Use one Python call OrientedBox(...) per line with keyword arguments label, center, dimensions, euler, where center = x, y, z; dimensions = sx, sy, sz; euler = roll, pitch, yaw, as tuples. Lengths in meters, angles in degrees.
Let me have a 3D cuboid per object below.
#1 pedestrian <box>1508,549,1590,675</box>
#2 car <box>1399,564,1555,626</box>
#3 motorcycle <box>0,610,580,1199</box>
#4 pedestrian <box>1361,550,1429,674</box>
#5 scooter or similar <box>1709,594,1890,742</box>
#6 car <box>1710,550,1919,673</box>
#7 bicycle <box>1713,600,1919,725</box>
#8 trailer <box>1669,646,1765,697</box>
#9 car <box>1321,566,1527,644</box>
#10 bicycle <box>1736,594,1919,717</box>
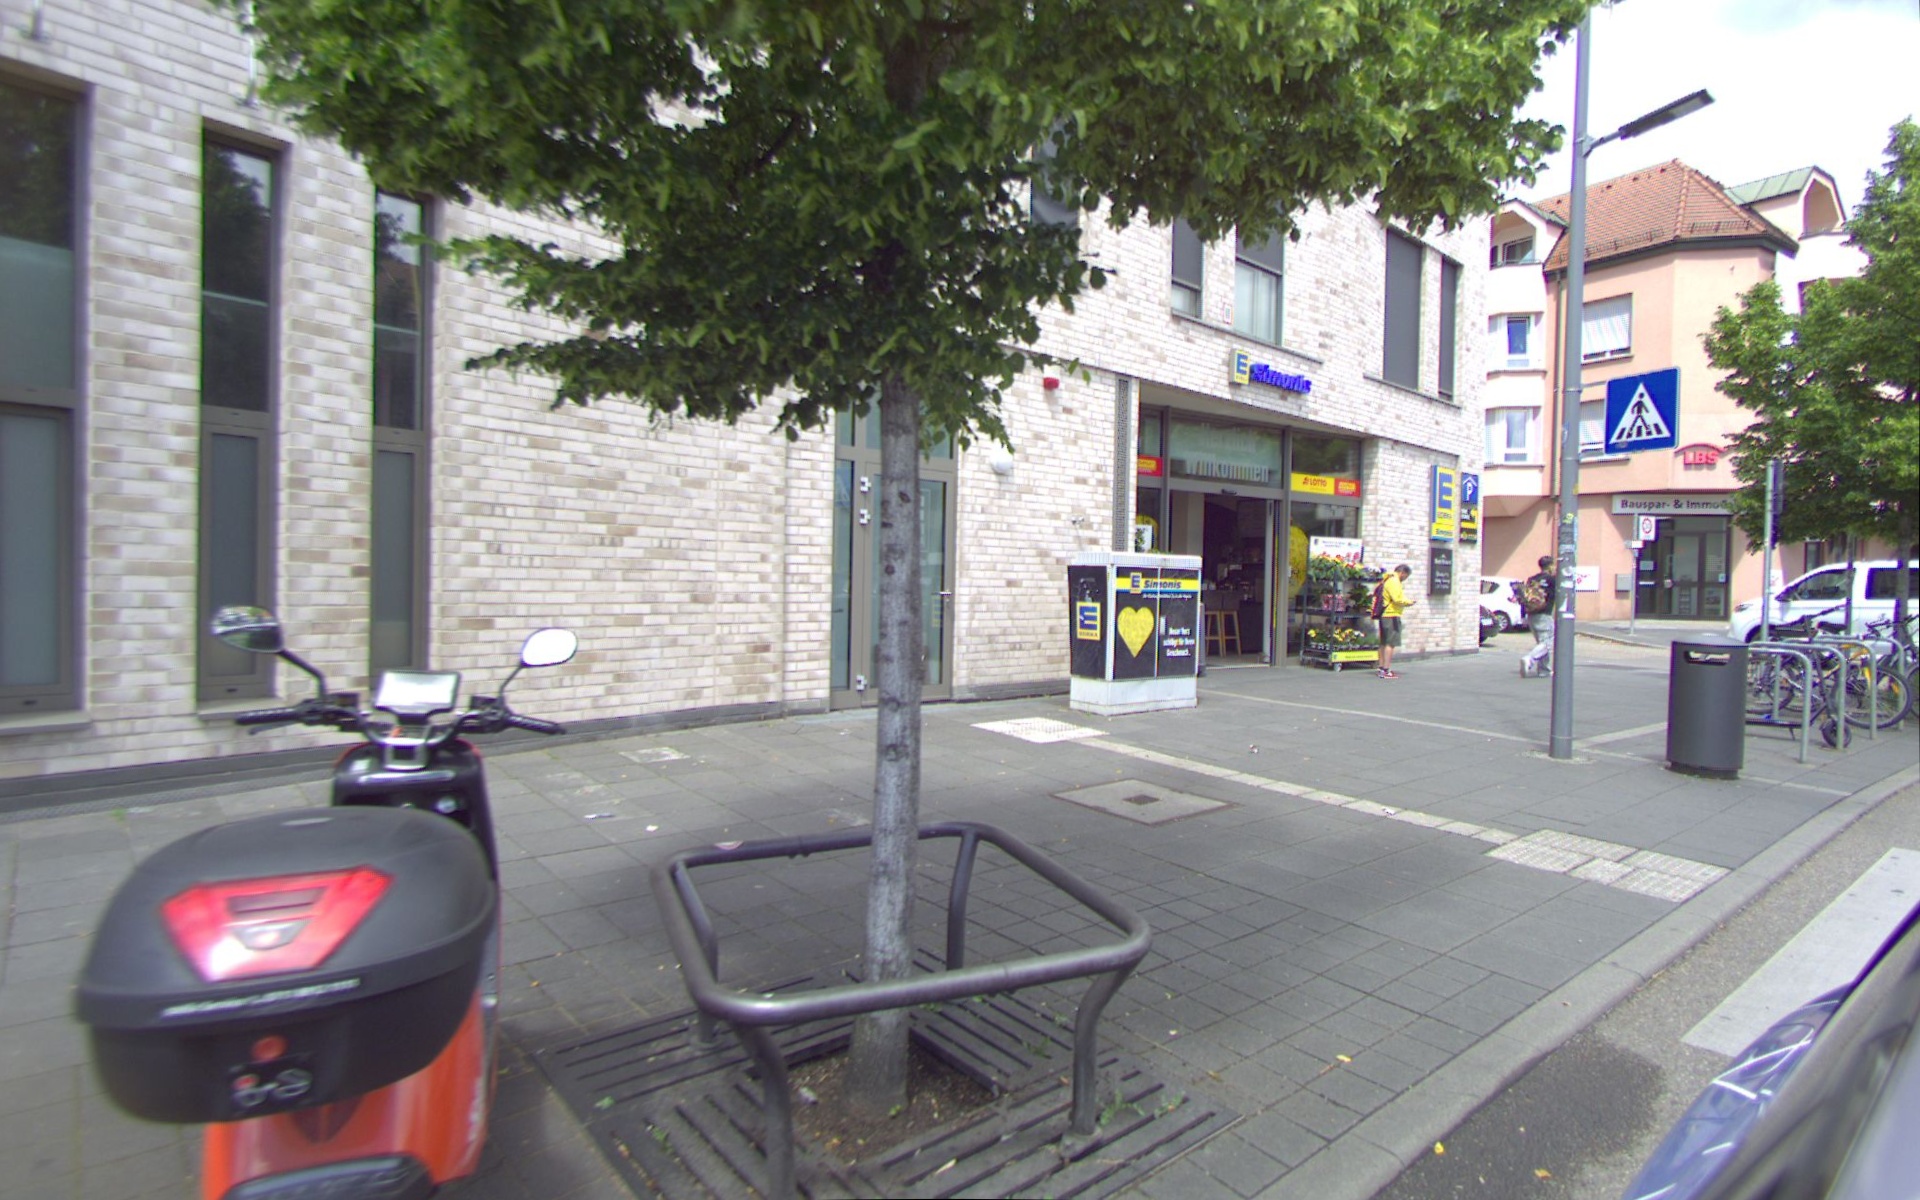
OrientedBox(label="pedestrian", center=(8.613, 0.152, 14.803), dimensions=(0.999, 1.763, 0.659), euler=(0, 2, -37))
OrientedBox(label="car", center=(14.064, -0.178, 27.678), dimensions=(1.684, 1.495, 3.397), euler=(0, 3, -30))
OrientedBox(label="motorcycle", center=(-1.174, 0.741, 1.992), dimensions=(0.659, 1.281, 2.062), euler=(0, 4, -24))
OrientedBox(label="pedestrian", center=(6.149, 0.155, 14.328), dimensions=(0.619, 1.713, 0.660), euler=(1, 1, -2))
OrientedBox(label="scooter or similar", center=(7.960, 0.604, 9.637), dimensions=(0.484, 1.265, 1.200), euler=(-1, 3, -35))
OrientedBox(label="car", center=(16.637, 0.183, 17.730), dimensions=(1.958, 2.039, 5.405), euler=(0, 0, -21))
OrientedBox(label="bicycle", center=(9.348, 0.623, 10.887), dimensions=(0.742, 1.145, 1.829), euler=(-1, 3, -35))
OrientedBox(label="trailer", center=(9.454, 0.878, 12.639), dimensions=(0.795, 0.535, 0.722), euler=(-1, 2, -32))
OrientedBox(label="car", center=(10.533, 0.050, 23.199), dimensions=(1.750, 1.495, 3.907), euler=(0, 3, -36))
OrientedBox(label="bicycle", center=(10.018, 0.582, 11.418), dimensions=(0.742, 1.215, 1.829), euler=(-1, 3, -35))
